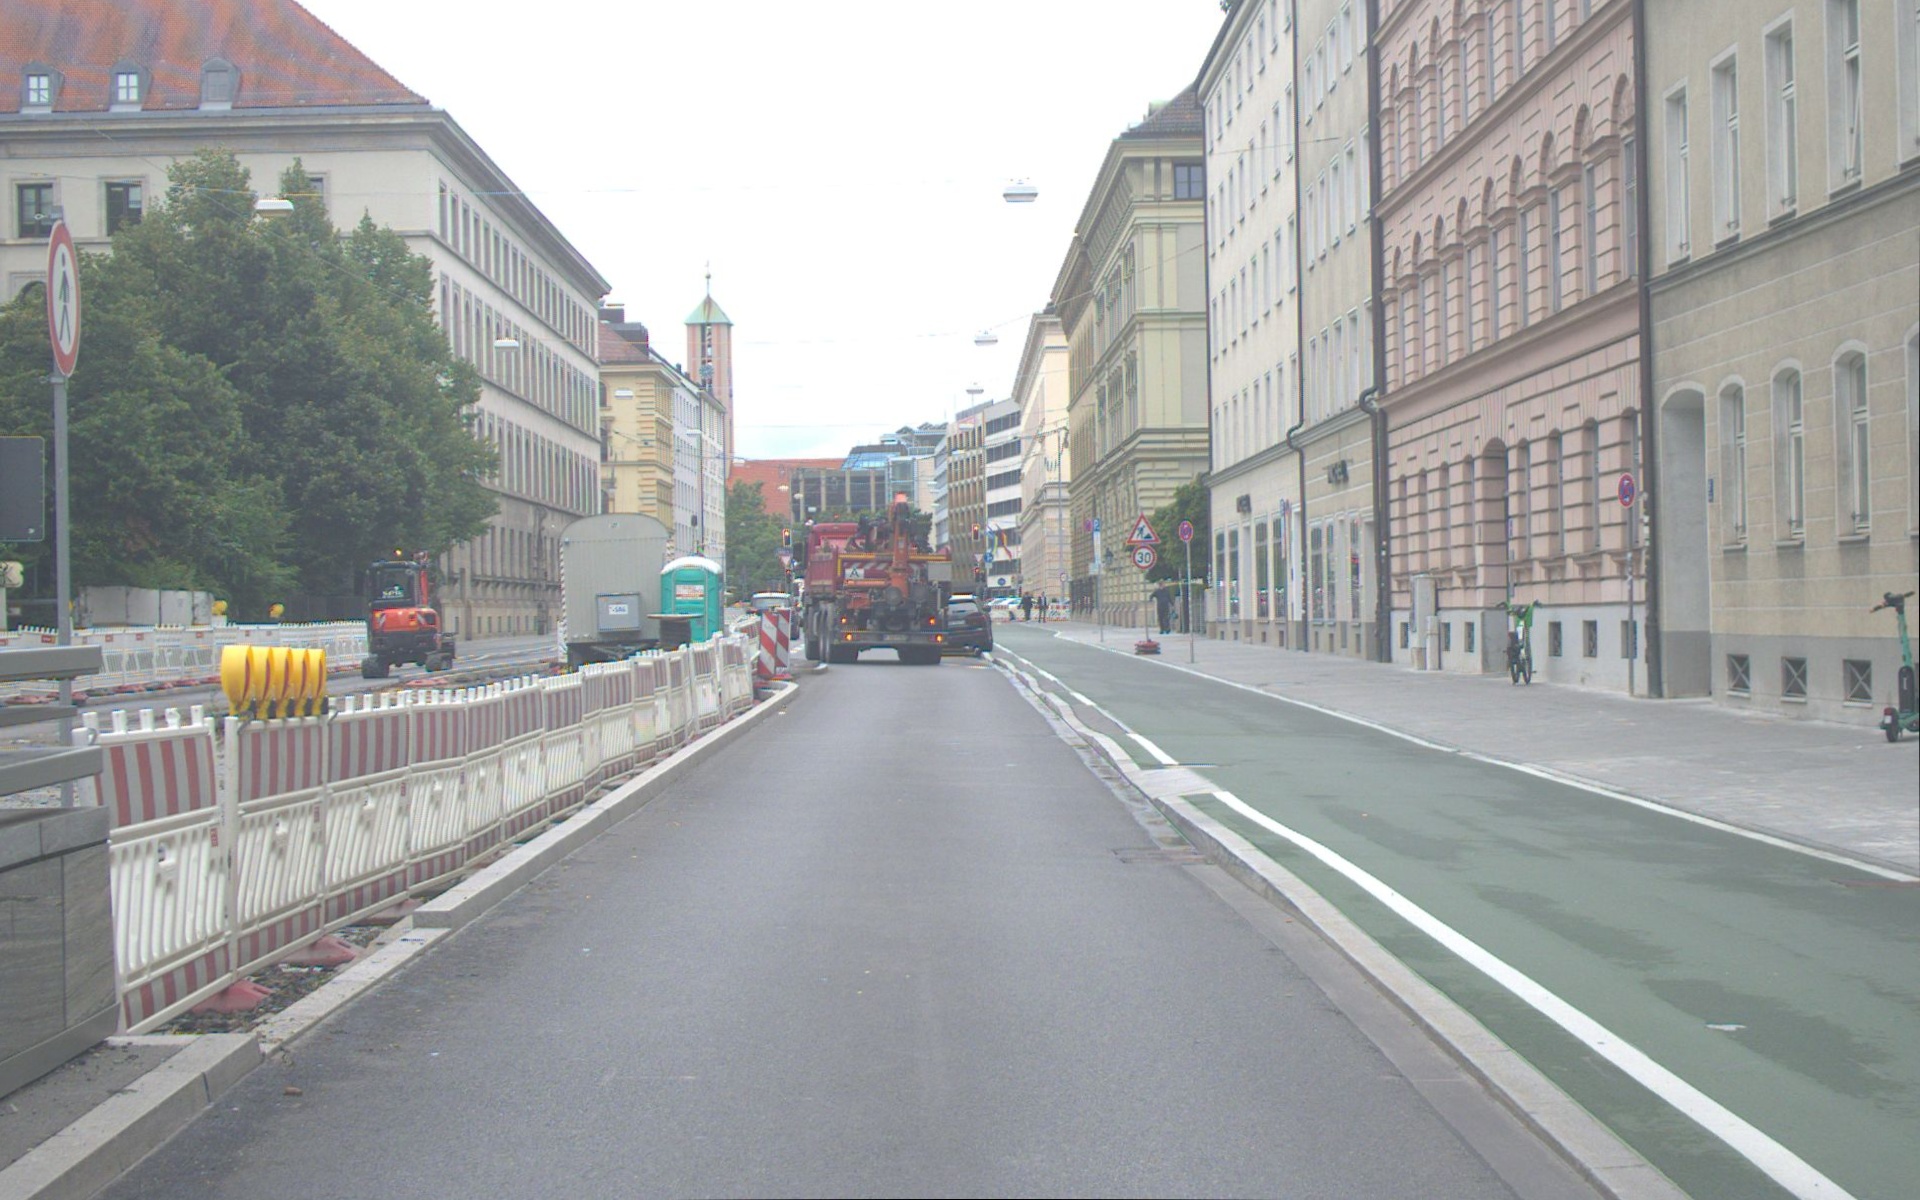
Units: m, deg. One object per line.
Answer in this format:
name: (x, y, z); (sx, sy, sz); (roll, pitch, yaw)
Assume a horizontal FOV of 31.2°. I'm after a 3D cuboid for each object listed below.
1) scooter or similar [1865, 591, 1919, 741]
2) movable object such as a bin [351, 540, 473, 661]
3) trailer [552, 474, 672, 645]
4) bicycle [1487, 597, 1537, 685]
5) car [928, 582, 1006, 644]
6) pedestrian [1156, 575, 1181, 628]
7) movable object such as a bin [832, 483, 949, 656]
scooter or similar: (7.919, 0.549, 29.104); (0.247, 1.227, 1.118); (-3, 0, 25)
movable object such as a bin: (-12.003, -0.007, 75.564); (1.924, 2.563, 4.492); (0, 0, 1)
trailer: (-7.019, -0.788, 69.585); (2.226, 3.232, 7.520); (-1, 0, -5)
bicycle: (7.630, 0.552, 47.466); (0.426, 1.170, 1.730); (-2, 0, 16)
car: (0.151, 0.309, 87.017); (1.801, 1.475, 4.687); (-1, 0, -2)
pedestrian: (7.172, 0.048, 118.113); (0.790, 1.830, 0.777); (-1, 0, 1)
movable object such as a bin: (-1.547, -0.647, 74.769); (2.423, 3.599, 5.852); (0, 0, -2)
